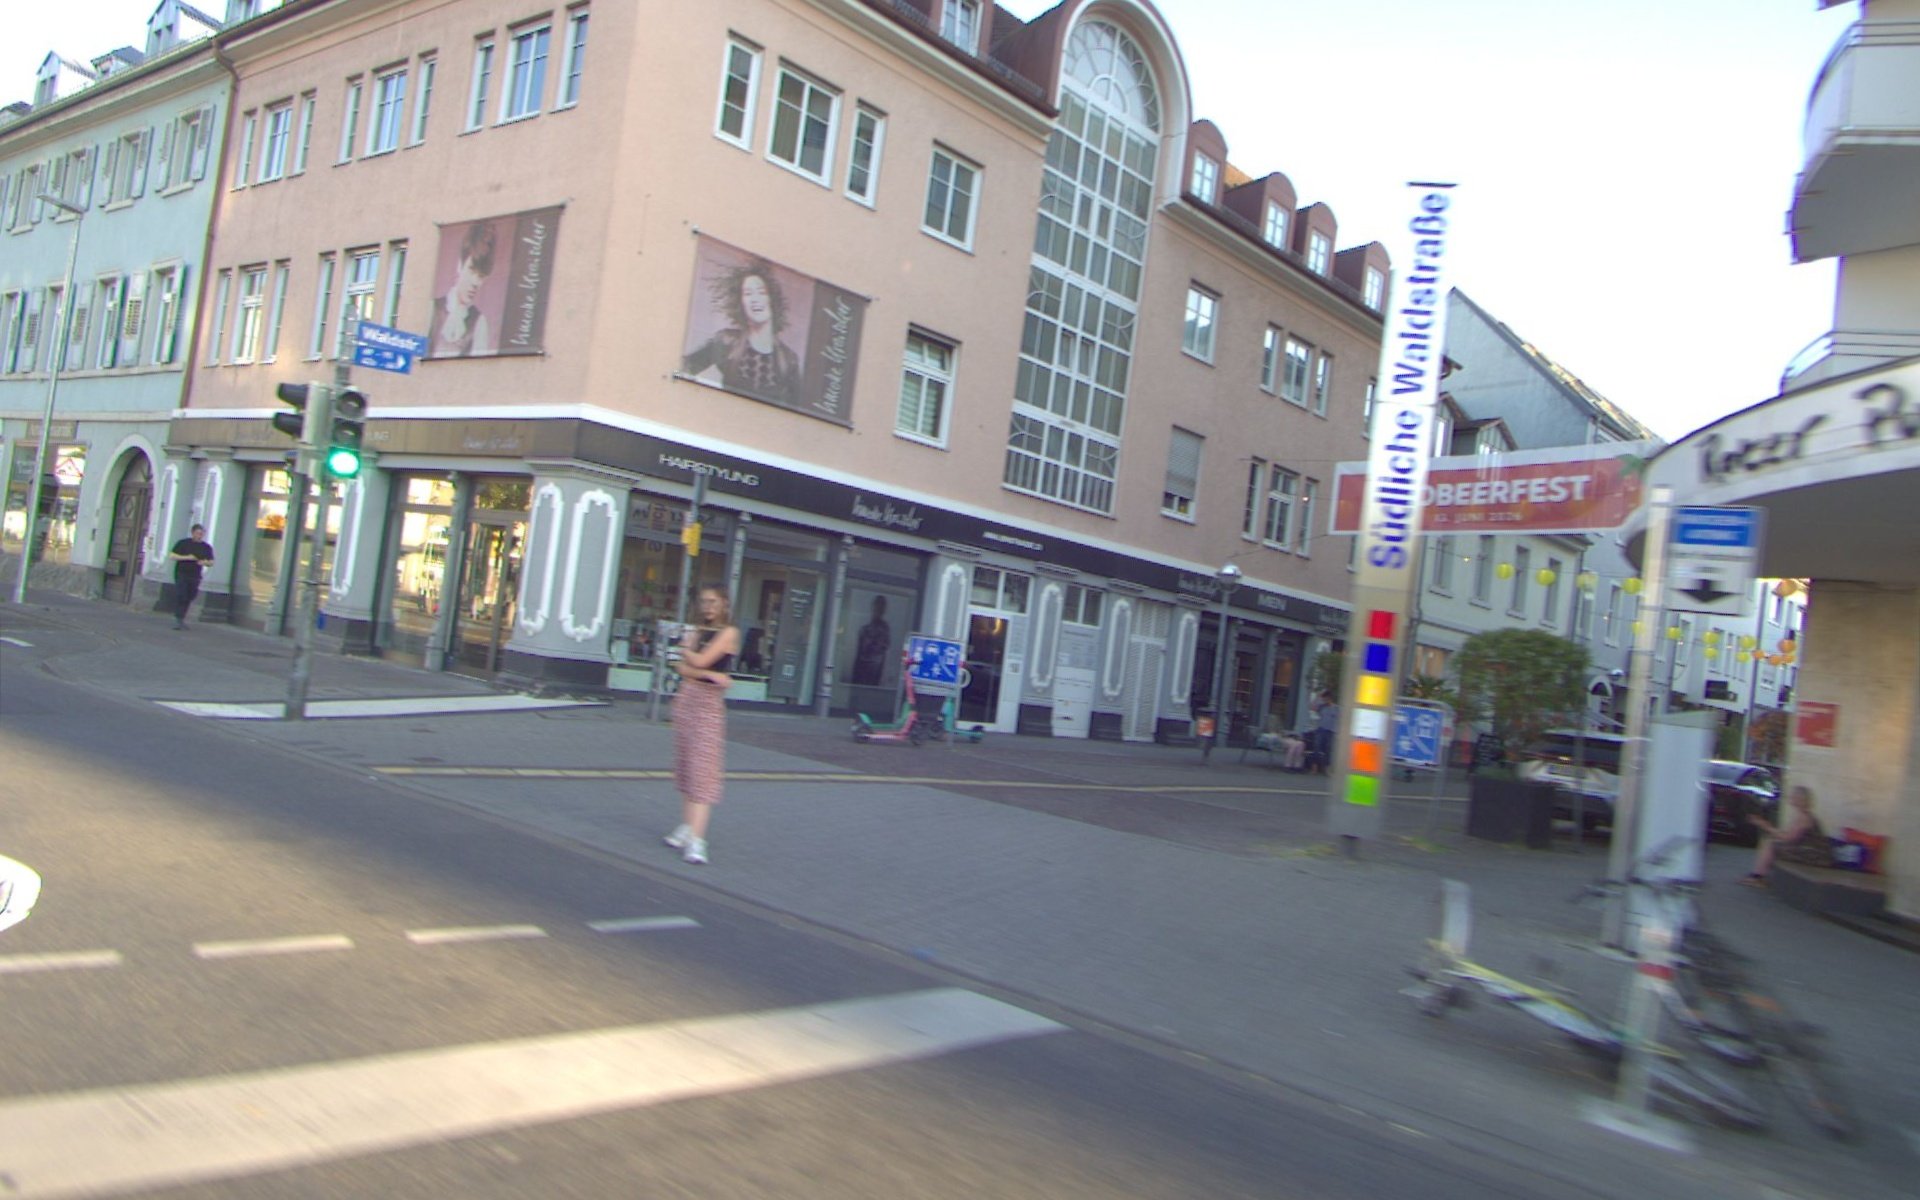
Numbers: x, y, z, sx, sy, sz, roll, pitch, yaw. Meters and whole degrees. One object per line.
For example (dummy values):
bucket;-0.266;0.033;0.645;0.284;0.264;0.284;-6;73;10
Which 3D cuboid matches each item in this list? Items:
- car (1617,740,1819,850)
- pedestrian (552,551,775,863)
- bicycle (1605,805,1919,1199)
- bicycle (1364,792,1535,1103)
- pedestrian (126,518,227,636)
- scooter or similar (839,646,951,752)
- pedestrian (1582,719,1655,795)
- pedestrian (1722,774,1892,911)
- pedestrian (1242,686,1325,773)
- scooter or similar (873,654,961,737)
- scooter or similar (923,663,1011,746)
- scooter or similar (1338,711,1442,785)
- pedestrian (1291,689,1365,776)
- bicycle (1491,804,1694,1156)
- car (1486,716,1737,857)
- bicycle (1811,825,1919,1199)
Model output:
car;13.867;3.551;18.338;3.971;1.473;1.929;10;-3;-38
pedestrian;-1.842;0.647;6.334;0.797;1.740;0.797;7;-2;24
bicycle;3.289;1.547;4.169;0.749;1.124;1.890;7;-3;28
bicycle;2.291;1.489;4.668;0.503;1.027;1.505;7;-3;29
pedestrian;-13.136;-0.383;16.878;1.030;1.796;0.760;7;-2;27
scooter or similar;-0.882;1.365;13.811;1.311;1.278;0.519;10;-3;-37
pedestrian;17.605;4.183;26.885;1.148;1.782;1.132;9;-2;-34
pedestrian;9.282;2.631;11.081;1.160;1.187;0.731;7;-2;24
pedestrian;6.454;2.578;20.076;0.978;1.542;1.037;9;-2;-36
scooter or similar;-0.660;1.525;15.874;0.516;1.177;1.318;6;-3;38
scooter or similar;0.125;1.672;15.946;0.502;1.177;1.316;6;-3;43
scooter or similar;9.547;3.280;22.383;1.458;1.341;1.417;9;-2;-26
pedestrian;7.444;2.676;20.352;1.038;1.582;0.824;9;-2;-35
bicycle;2.702;1.531;4.422;0.503;1.038;1.504;7;-1;27
car;9.846;2.797;15.109;3.971;1.587;1.908;10;-3;-38
bicycle;3.822;1.552;3.576;0.710;1.180;1.889;7;-2;28
